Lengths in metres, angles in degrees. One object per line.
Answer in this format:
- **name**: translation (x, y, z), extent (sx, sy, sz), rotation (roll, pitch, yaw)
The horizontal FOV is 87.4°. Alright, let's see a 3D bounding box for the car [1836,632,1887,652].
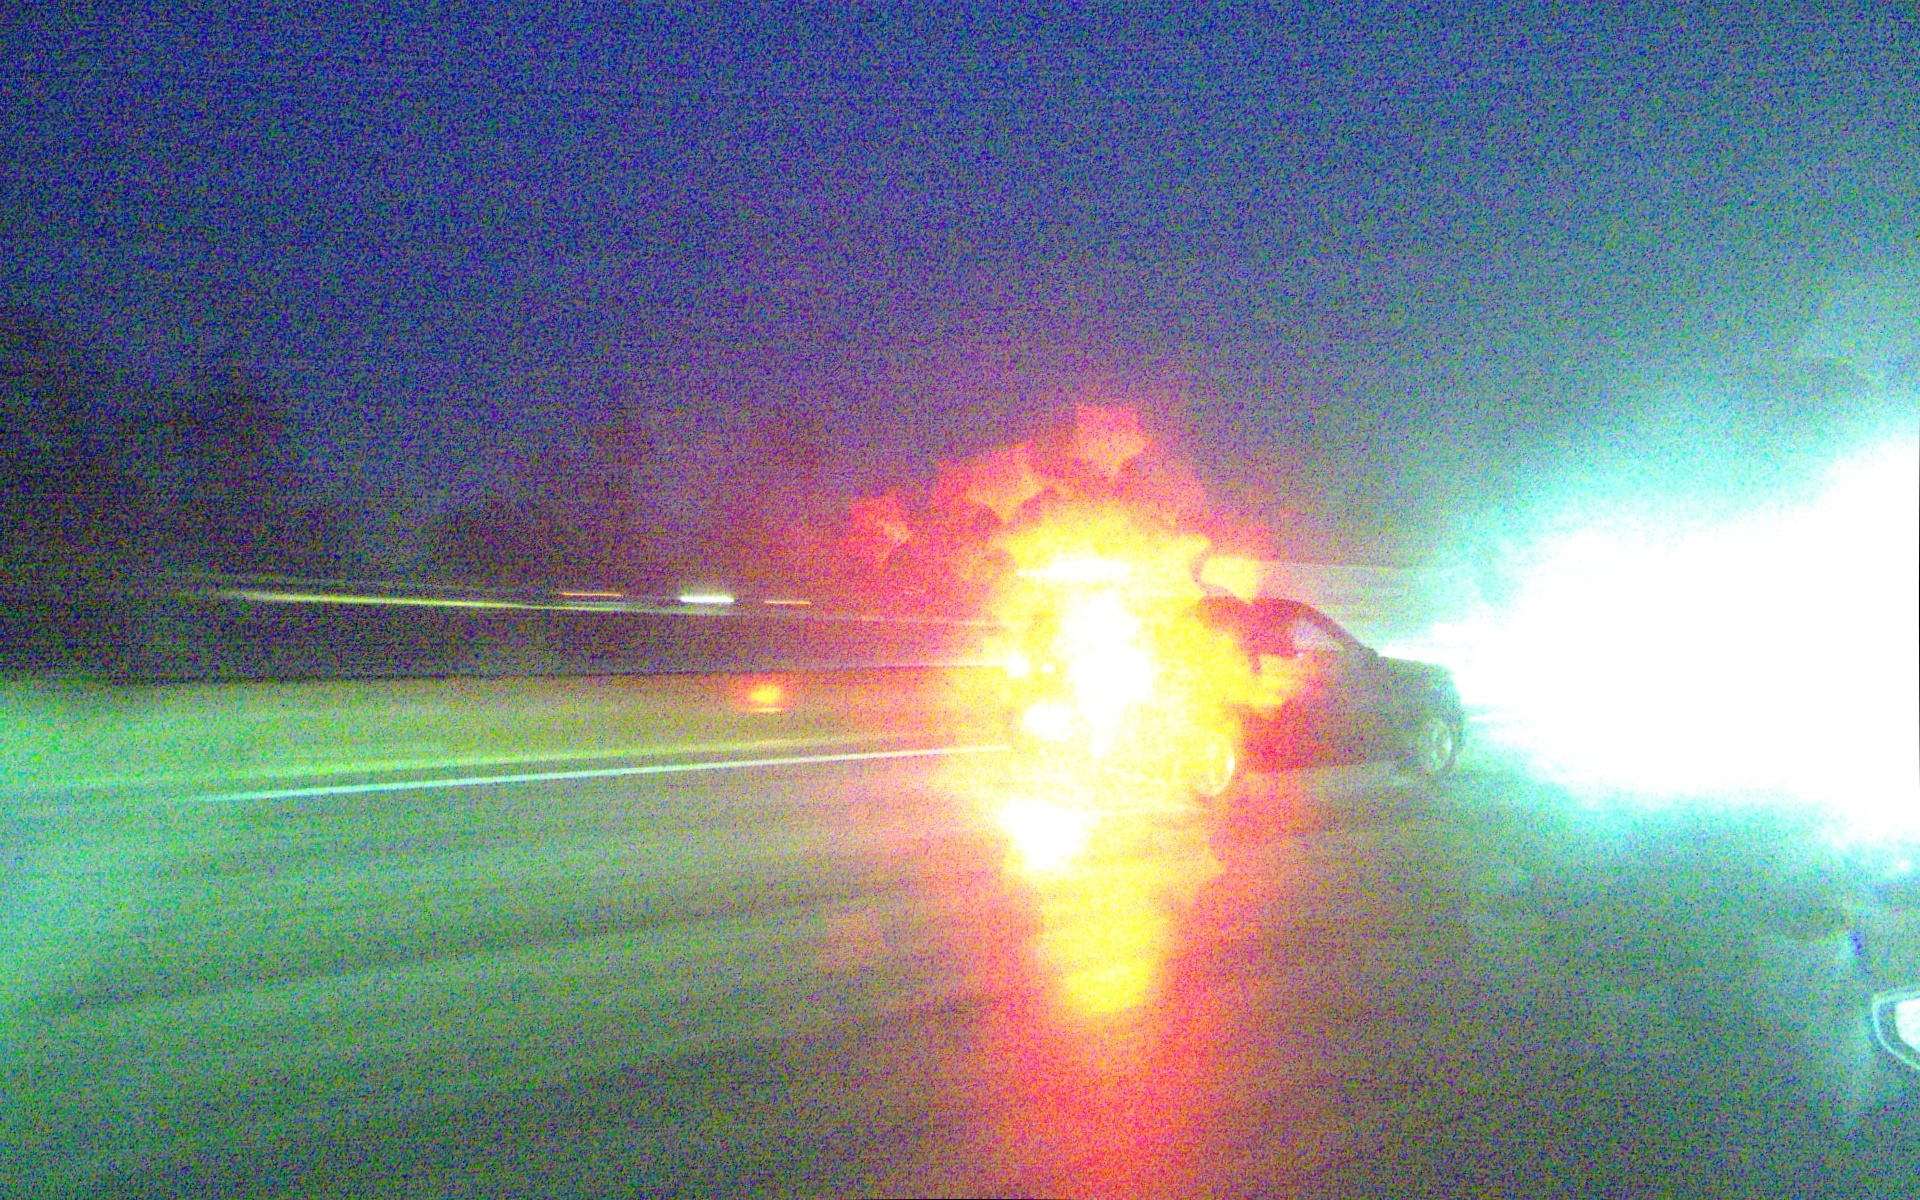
- **car**: translation (83.182, 3.858, 92.657), extent (4.508, 1.795, 1.987), rotation (1, -1, -26)

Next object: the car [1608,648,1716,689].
- **car**: translation (24.186, 2.374, 34.599), extent (3.657, 1.316, 1.608), rotation (3, -5, -29)

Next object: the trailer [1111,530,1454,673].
- **trailer**: translation (11.402, 0.379, 34.368), extent (13.771, 4.049, 2.800), rotation (3, -5, -31)

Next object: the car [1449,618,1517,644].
- **car**: translation (40.441, 2.399, 77.689), extent (4.612, 1.959, 1.992), rotation (1, 0, -19)

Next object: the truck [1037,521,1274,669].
- **truck**: translation (6.150, 0.073, 31.229), extent (7.265, 4.057, 2.800), rotation (3, -5, -31)

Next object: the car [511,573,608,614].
- **car**: translation (-19.048, -0.304, 47.779), extent (4.212, 1.811, 1.781), rotation (1, 1, -25)

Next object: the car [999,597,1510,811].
- **car**: translation (2.830, 0.822, 9.312), extent (4.695, 1.561, 1.849), rotation (2, -1, -30)
